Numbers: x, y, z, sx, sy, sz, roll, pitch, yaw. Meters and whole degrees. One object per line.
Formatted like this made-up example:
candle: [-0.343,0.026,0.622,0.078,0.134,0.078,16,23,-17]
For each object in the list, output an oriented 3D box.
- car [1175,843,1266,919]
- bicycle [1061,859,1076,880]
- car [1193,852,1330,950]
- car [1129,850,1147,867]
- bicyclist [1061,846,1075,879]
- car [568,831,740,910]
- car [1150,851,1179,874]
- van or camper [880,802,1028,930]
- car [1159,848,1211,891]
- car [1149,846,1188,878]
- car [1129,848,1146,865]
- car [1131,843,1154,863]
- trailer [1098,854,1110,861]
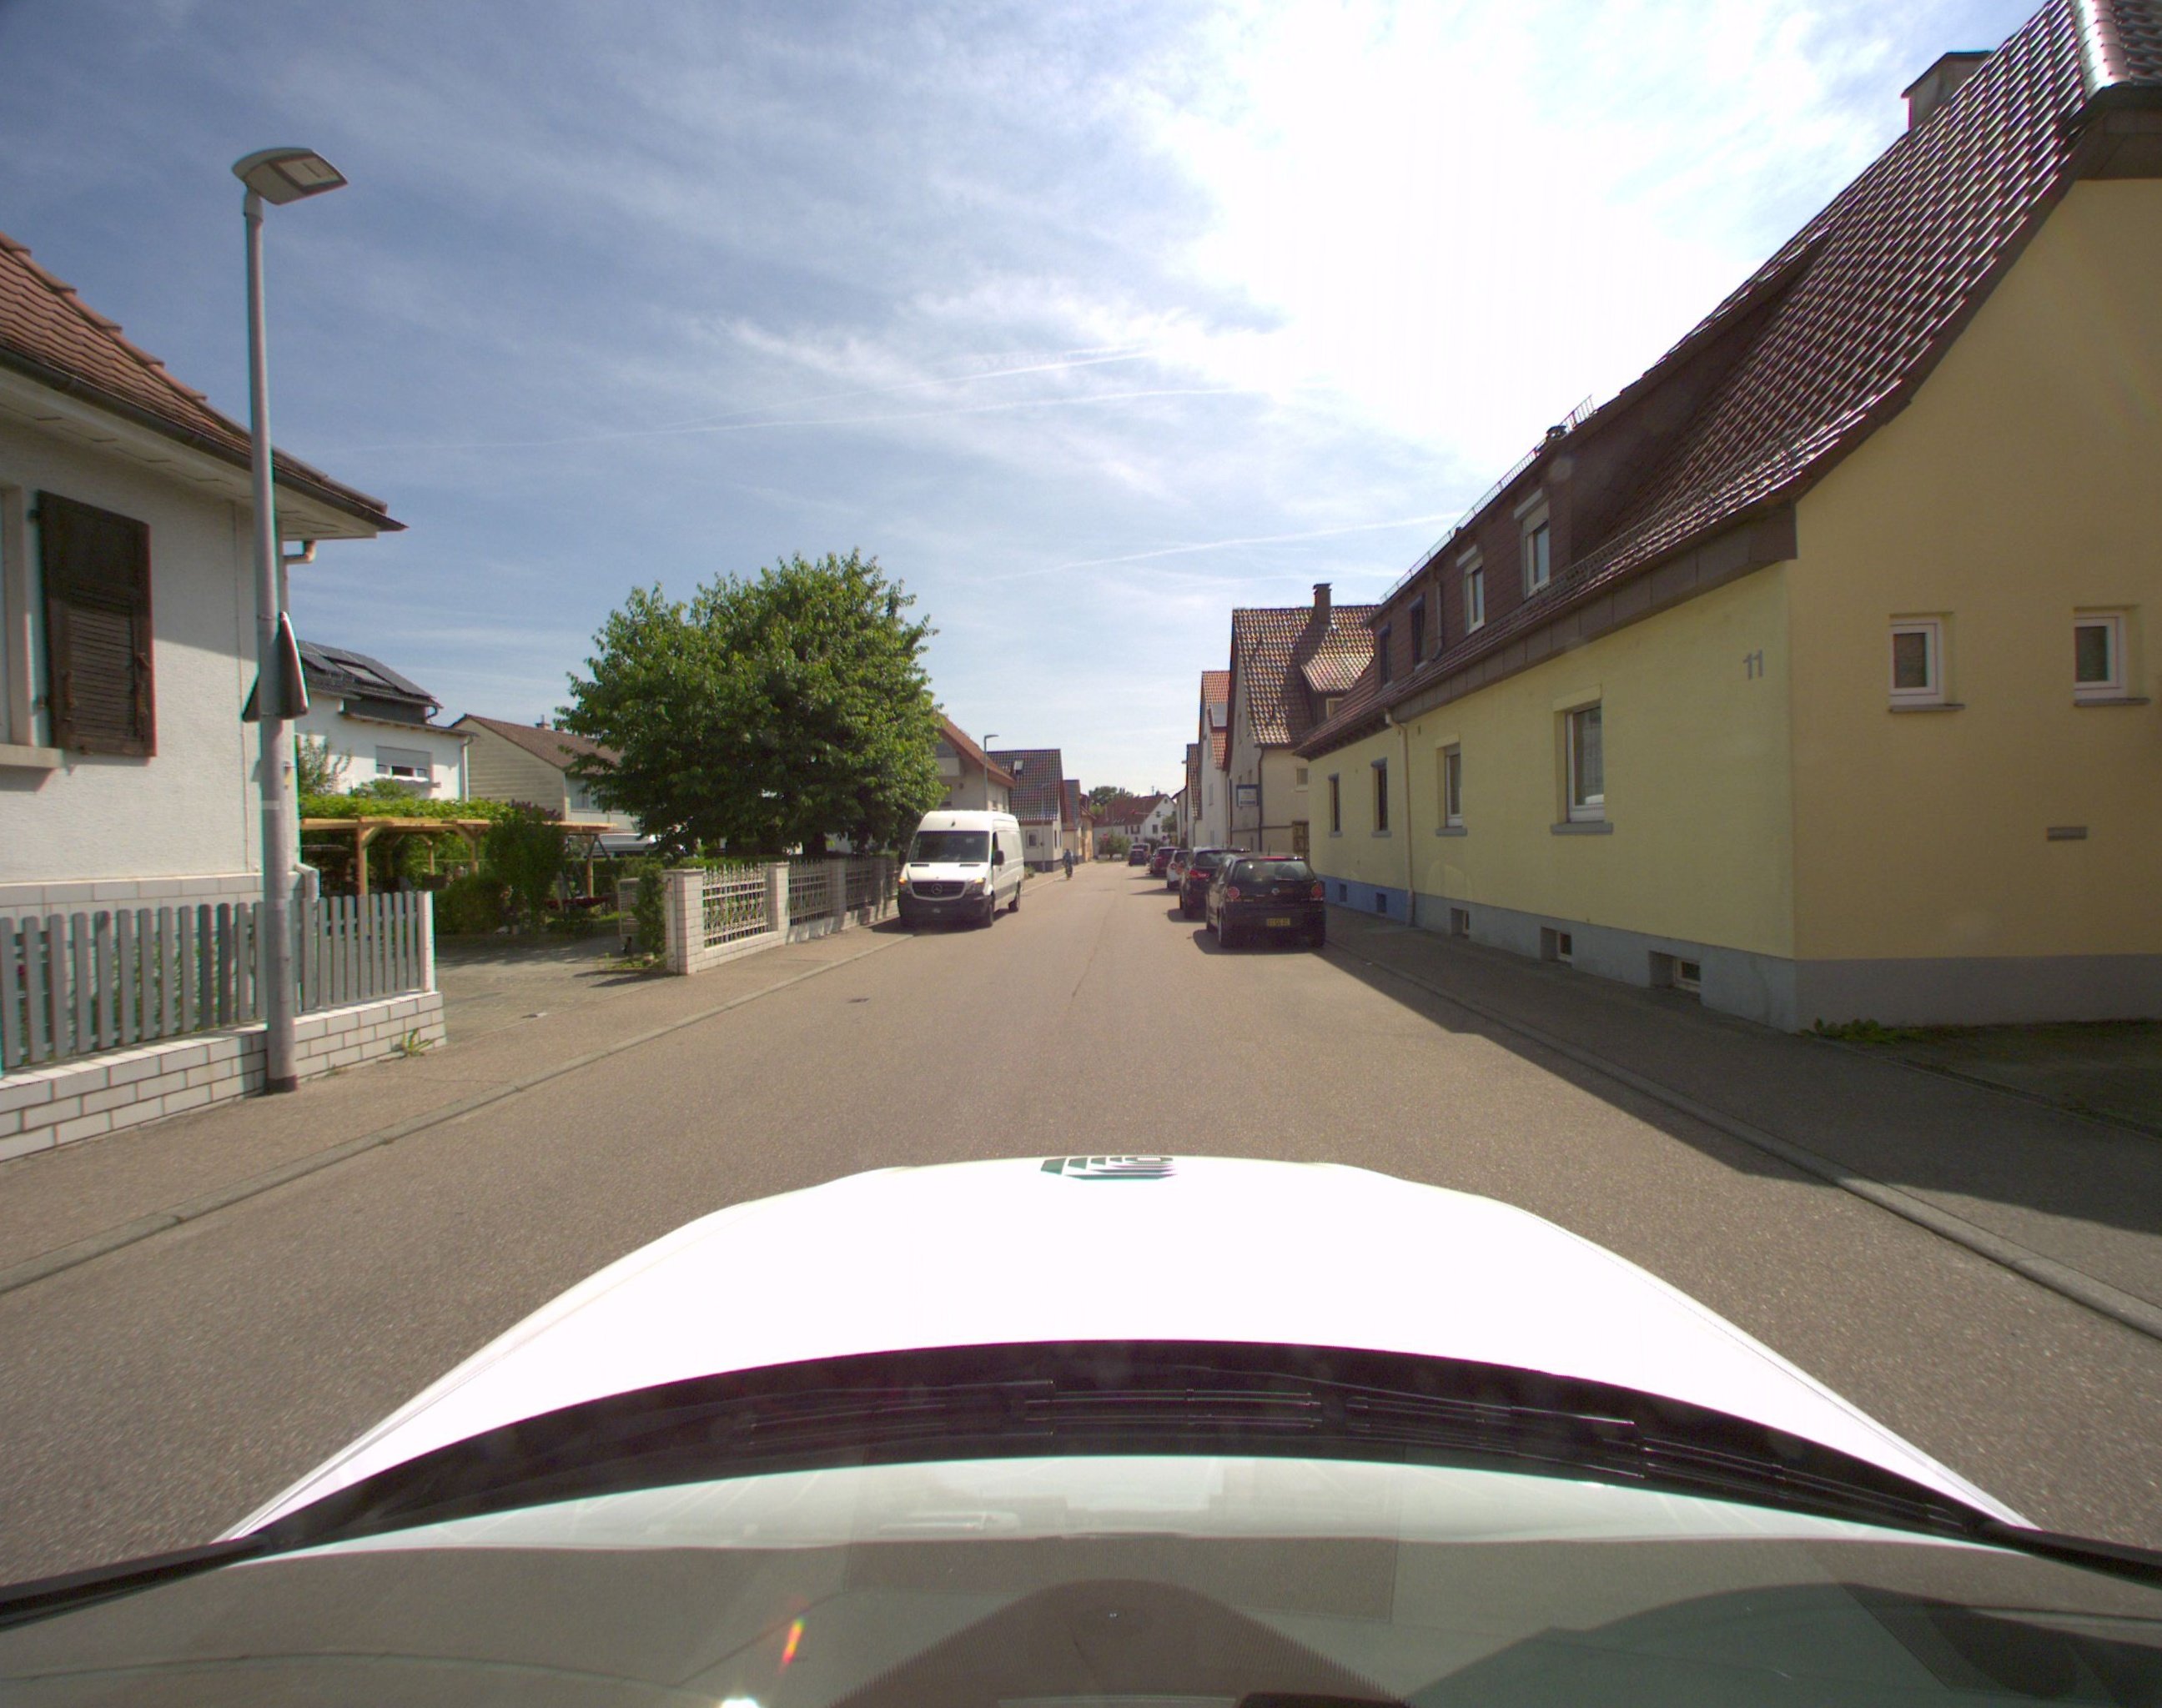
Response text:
car: [3.217,0.564,19.460,1.721,1.599,4.258,-1,0,4]
bicycle: [-0.705,0.865,45.524,0.667,1.132,2.190,-1,0,2]
car: [2.951,0.695,14.018,1.605,1.431,3.755,-1,0,2]
car: [5.404,0.393,77.457,1.508,1.567,3.190,-1,0,7]
bicyclist: [-0.747,0.451,45.640,0.710,1.798,0.942,-1,0,1]
car: [-14.528,0.546,27.904,4.784,2.492,1.967,-2,0,2]
car: [5.332,0.523,52.583,1.755,1.424,4.598,-1,0,5]
van or camper: [-2.810,0.228,19.966,2.175,2.571,6.813,-1,0,3]
car: [3.964,0.547,31.388,1.667,1.559,3.041,-1,0,1]
car: [4.898,0.414,46.298,1.868,1.700,4.185,-1,0,1]
car: [5.717,0.208,82.506,1.508,1.624,3.190,-2,0,7]
car: [6.943,-0.146,91.698,2.116,2.158,4.749,-2,0,9]
trailer: [3.033,0.512,107.587,1.494,0.927,1.014,0,0,5]
